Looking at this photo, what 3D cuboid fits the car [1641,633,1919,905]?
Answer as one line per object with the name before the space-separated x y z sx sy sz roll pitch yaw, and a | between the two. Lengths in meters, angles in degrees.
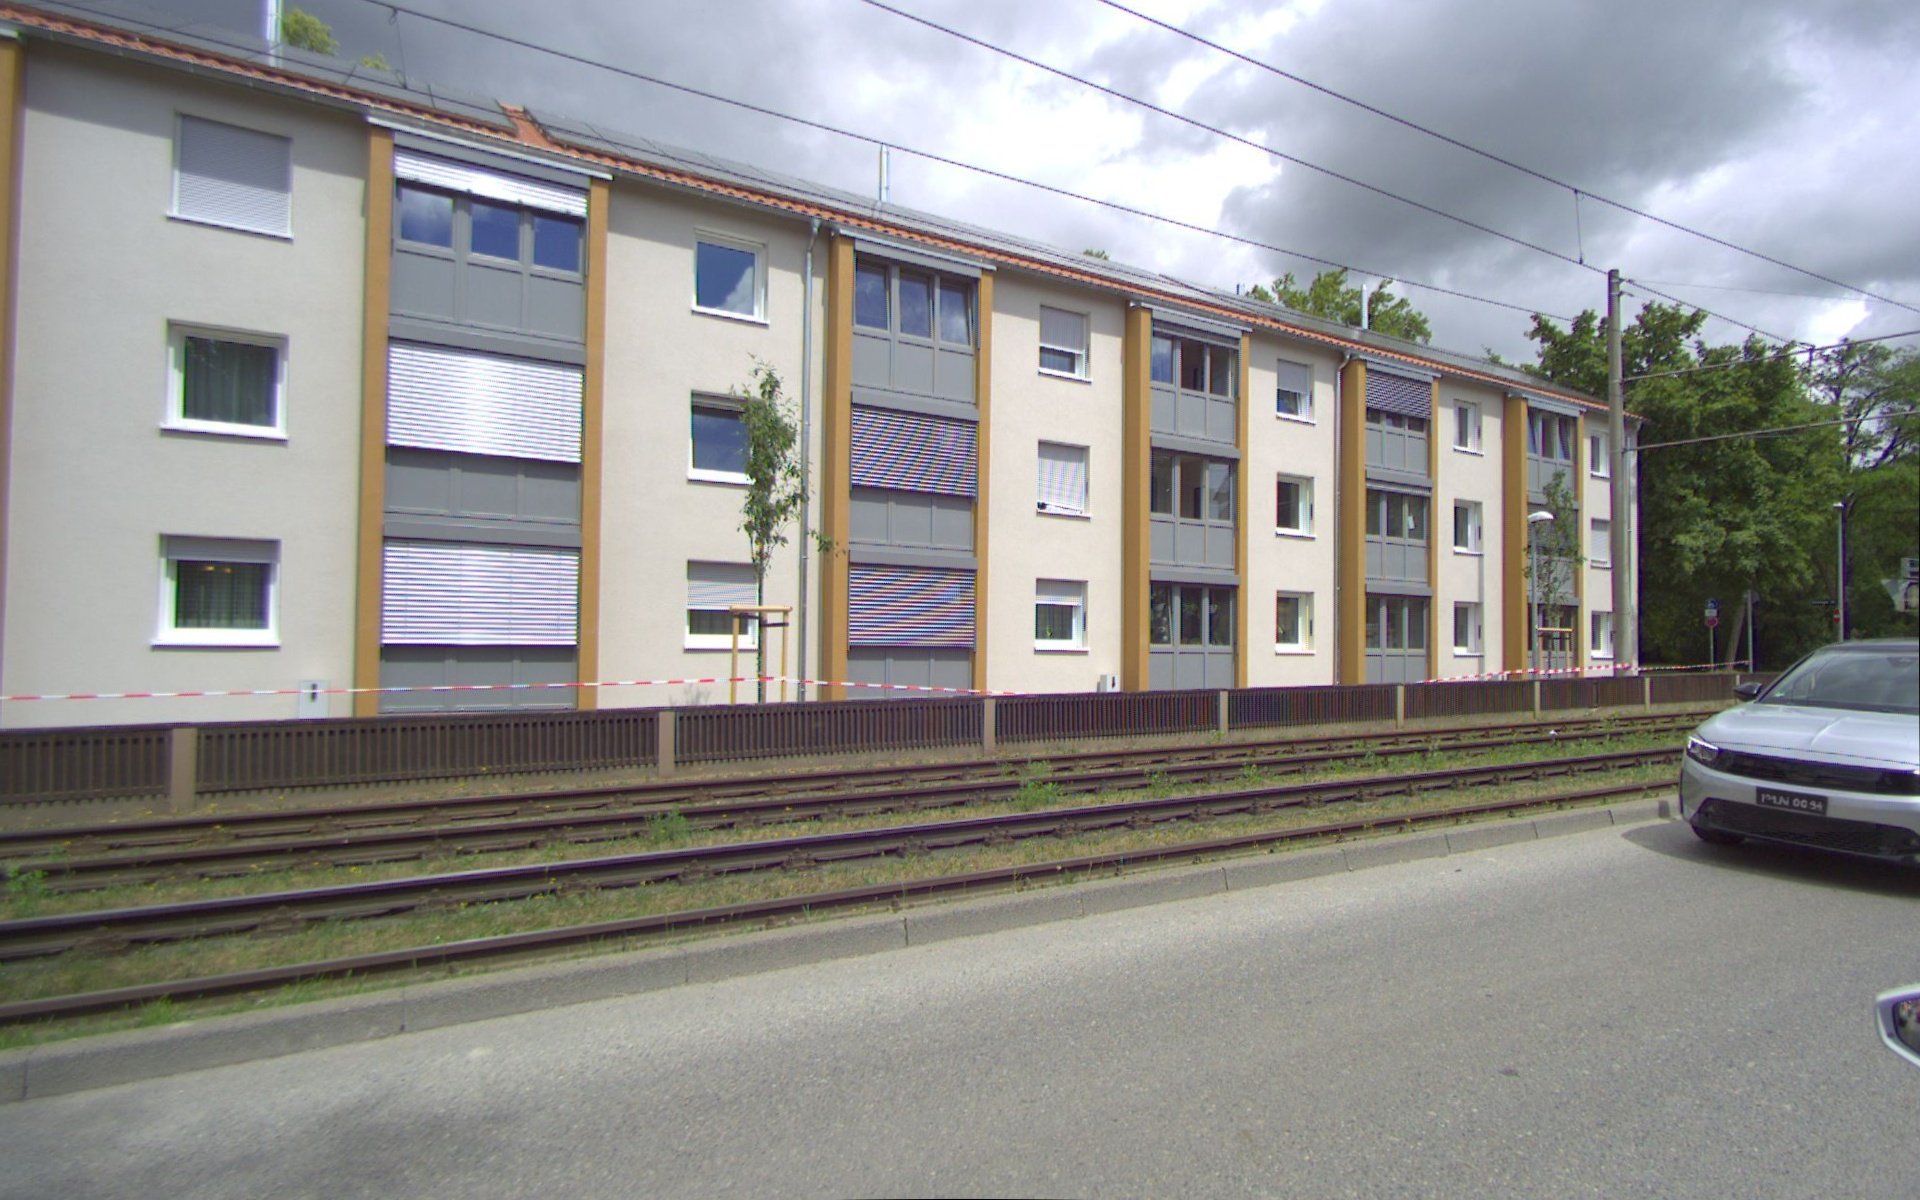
car | 6.632 0.976 6.901 3.937 1.436 1.722 1 -1 -30
